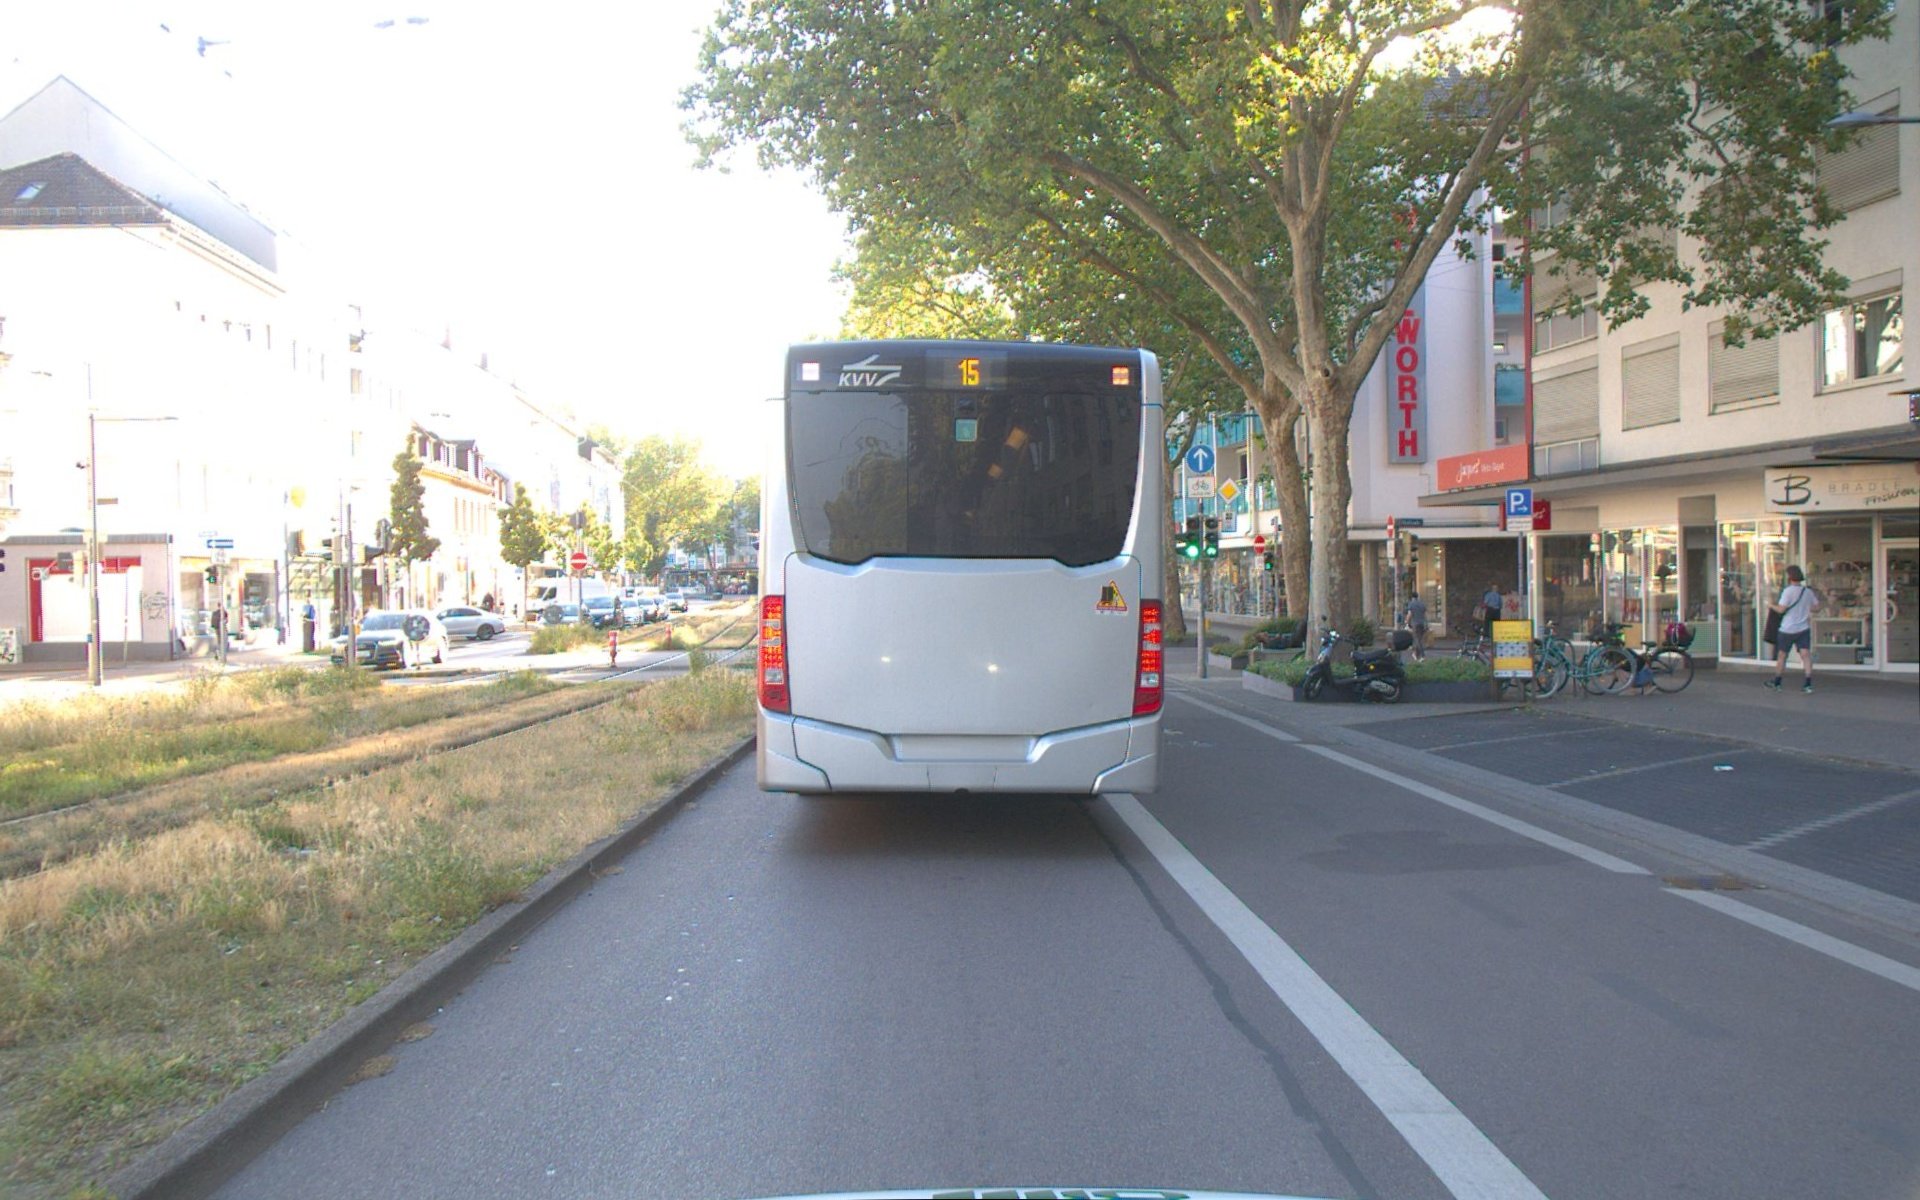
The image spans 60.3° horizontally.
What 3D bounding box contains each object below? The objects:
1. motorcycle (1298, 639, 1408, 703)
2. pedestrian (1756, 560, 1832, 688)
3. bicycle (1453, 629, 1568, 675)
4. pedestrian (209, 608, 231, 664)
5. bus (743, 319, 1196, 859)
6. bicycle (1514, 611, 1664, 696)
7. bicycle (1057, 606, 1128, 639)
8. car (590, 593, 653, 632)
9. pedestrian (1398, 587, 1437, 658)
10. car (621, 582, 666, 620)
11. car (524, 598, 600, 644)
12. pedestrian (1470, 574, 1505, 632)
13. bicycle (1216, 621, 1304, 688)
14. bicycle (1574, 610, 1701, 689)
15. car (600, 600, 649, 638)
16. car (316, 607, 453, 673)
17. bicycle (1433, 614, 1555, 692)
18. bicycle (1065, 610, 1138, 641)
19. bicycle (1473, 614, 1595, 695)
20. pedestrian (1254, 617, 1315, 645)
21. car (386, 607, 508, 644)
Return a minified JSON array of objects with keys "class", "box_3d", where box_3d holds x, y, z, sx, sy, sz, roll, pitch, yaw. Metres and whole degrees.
[{"class":"motorcycle","box_3d":[6.021,1.083,25.373,1.539,0.908,0.544,-1,0,-4]},{"class":"pedestrian","box_3d":[12.642,0.358,25.090,0.632,1.909,0.821,-1,0,-14]},{"class":"bicycle","box_3d":[9.846,0.931,29.639,1.836,0.779,0.712,-1,0,7]},{"class":"pedestrian","box_3d":[-23.353,1.120,52.178,0.417,1.743,0.508,-1,0,3]},{"class":"bus","box_3d":[0.072,-0.085,13.201,2.623,3.137,7.114,0,0,0]},{"class":"bicycle","box_3d":[9.929,0.840,26.154,2.037,1.254,0.832,-2,0,4]},{"class":"bicycle","box_3d":[4.481,0.767,55.979,2.267,1.046,0.835,-1,1,-9]},{"class":"car","box_3d":[-14.708,0.524,72.117,1.744,1.643,4.509,0,0,1]},{"class":"pedestrian","box_3d":[11.859,0.582,42.898,0.764,1.825,0.764,-1,0,-1]},{"class":"car","box_3d":[-17.770,0.075,93.080,1.954,2.049,3.997,-1,0,-3]},{"class":"car","box_3d":[-14.971,0.768,62.388,1.744,1.475,4.045,-3,1,1]},{"class":"pedestrian","box_3d":[16.176,0.084,50.734,0.733,1.708,0.834,-1,2,-7]},{"class":"bicycle","box_3d":[5.435,0.981,30.018,1.478,1.124,0.460,3,0,-1]},{"class":"bicycle","box_3d":[10.863,0.787,26.550,1.727,1.174,0.679,-2,0,7]},{"class":"car","box_3d":[-16.956,0.951,83.739,1.860,1.836,3.997,-1,0,-3]},{"class":"car","box_3d":[-15.000,0.992,43.374,1.953,1.586,4.774,-1,0,-1]},{"class":"bicycle","box_3d":[9.178,0.904,28.501,1.836,1.210,0.712,-4,-1,7]},{"class":"bicycle","box_3d":[4.686,0.830,54.887,2.267,0.956,0.835,-1,1,-9]},{"class":"bicycle","box_3d":[9.569,0.903,27.609,1.753,1.210,0.671,-4,-1,-9]},{"class":"pedestrian","box_3d":[7.113,0.679,36.296,1.229,0.599,0.482,0,0,-3]},{"class":"car","box_3d":[-21.454,1.049,69.179,4.504,1.437,1.973,-1,0,-37]}]
